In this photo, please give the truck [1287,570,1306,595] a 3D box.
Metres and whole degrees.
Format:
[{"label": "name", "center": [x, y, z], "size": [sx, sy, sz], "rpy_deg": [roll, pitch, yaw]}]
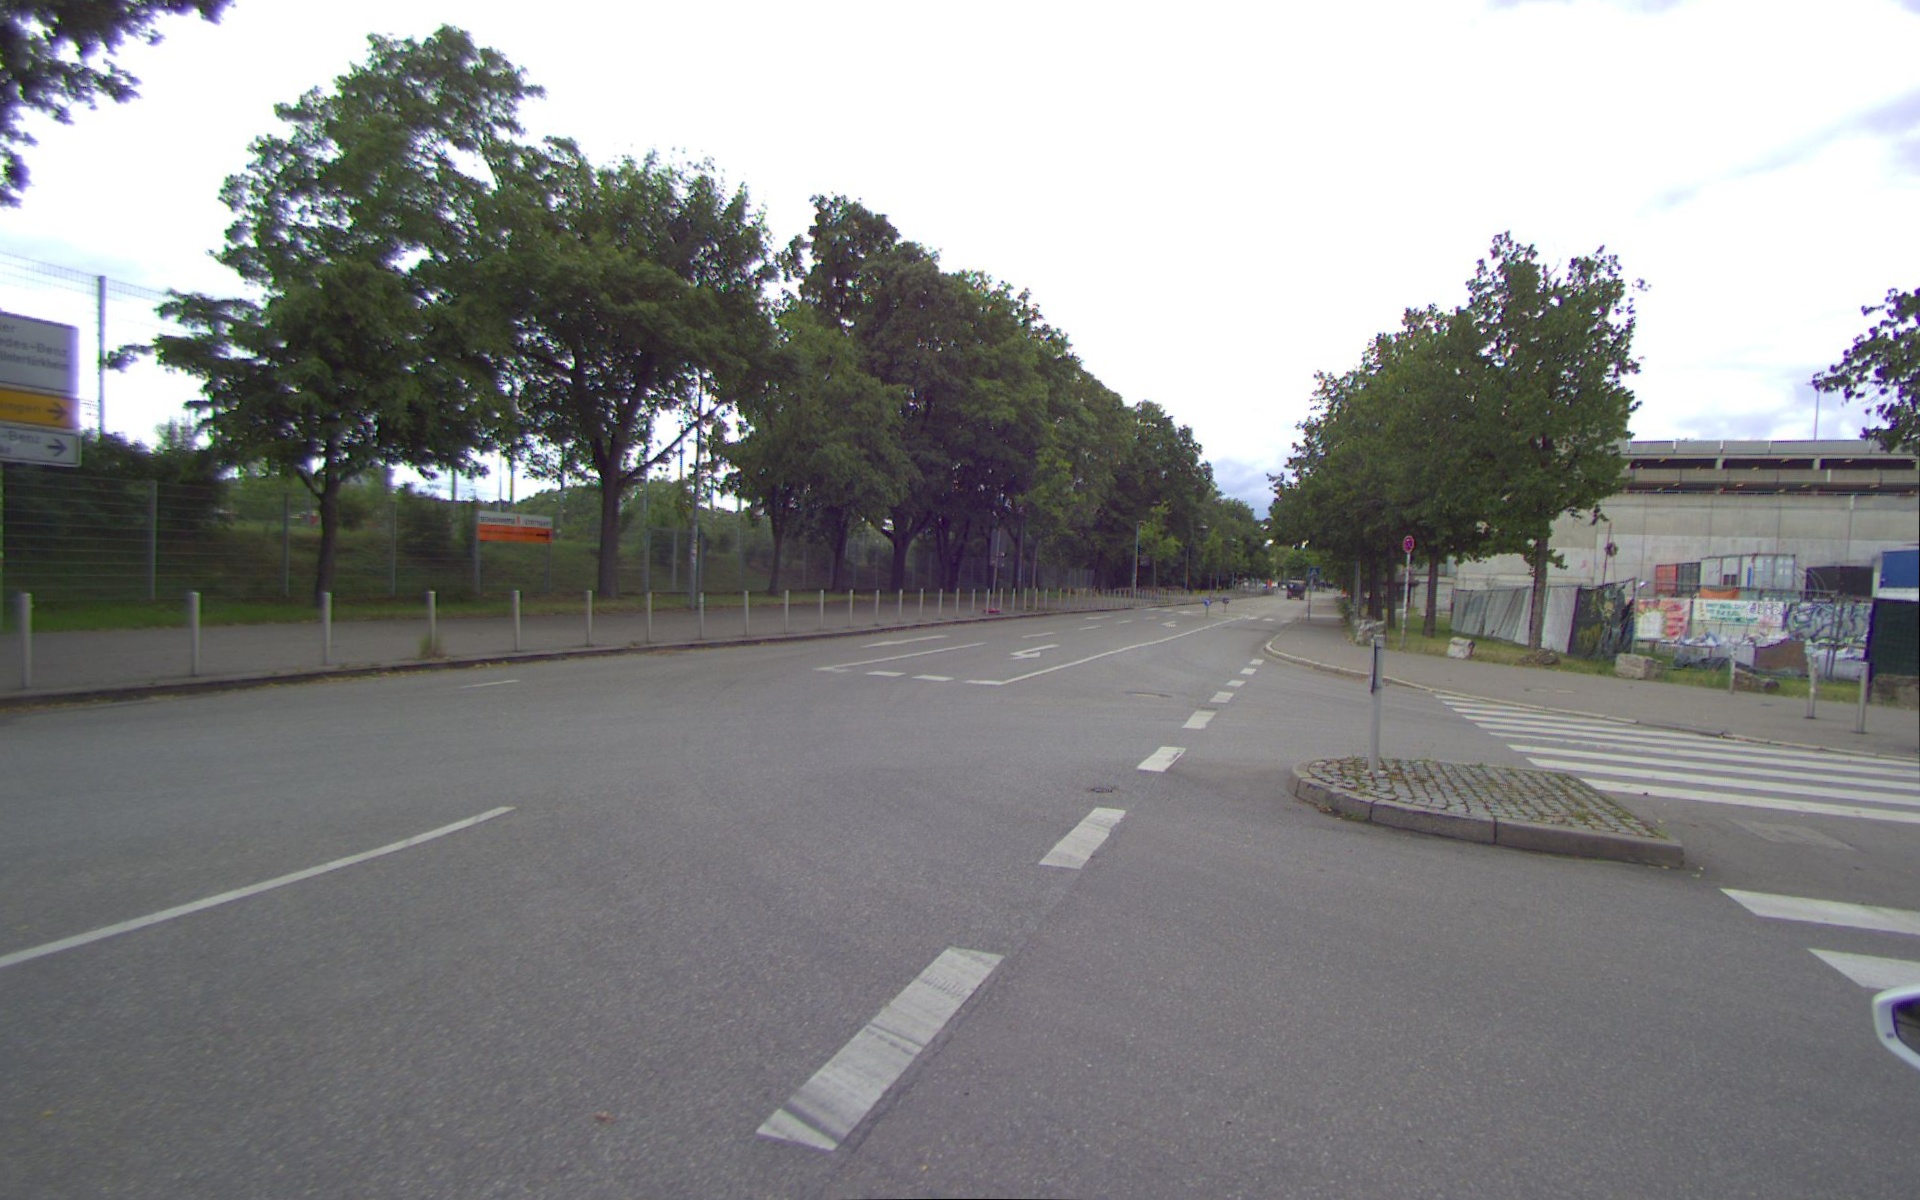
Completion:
[{"label": "truck", "center": [51.691, -2.592, 154.172], "size": [2.629, 3.606, 7.923], "rpy_deg": [0, 0, 20]}]
